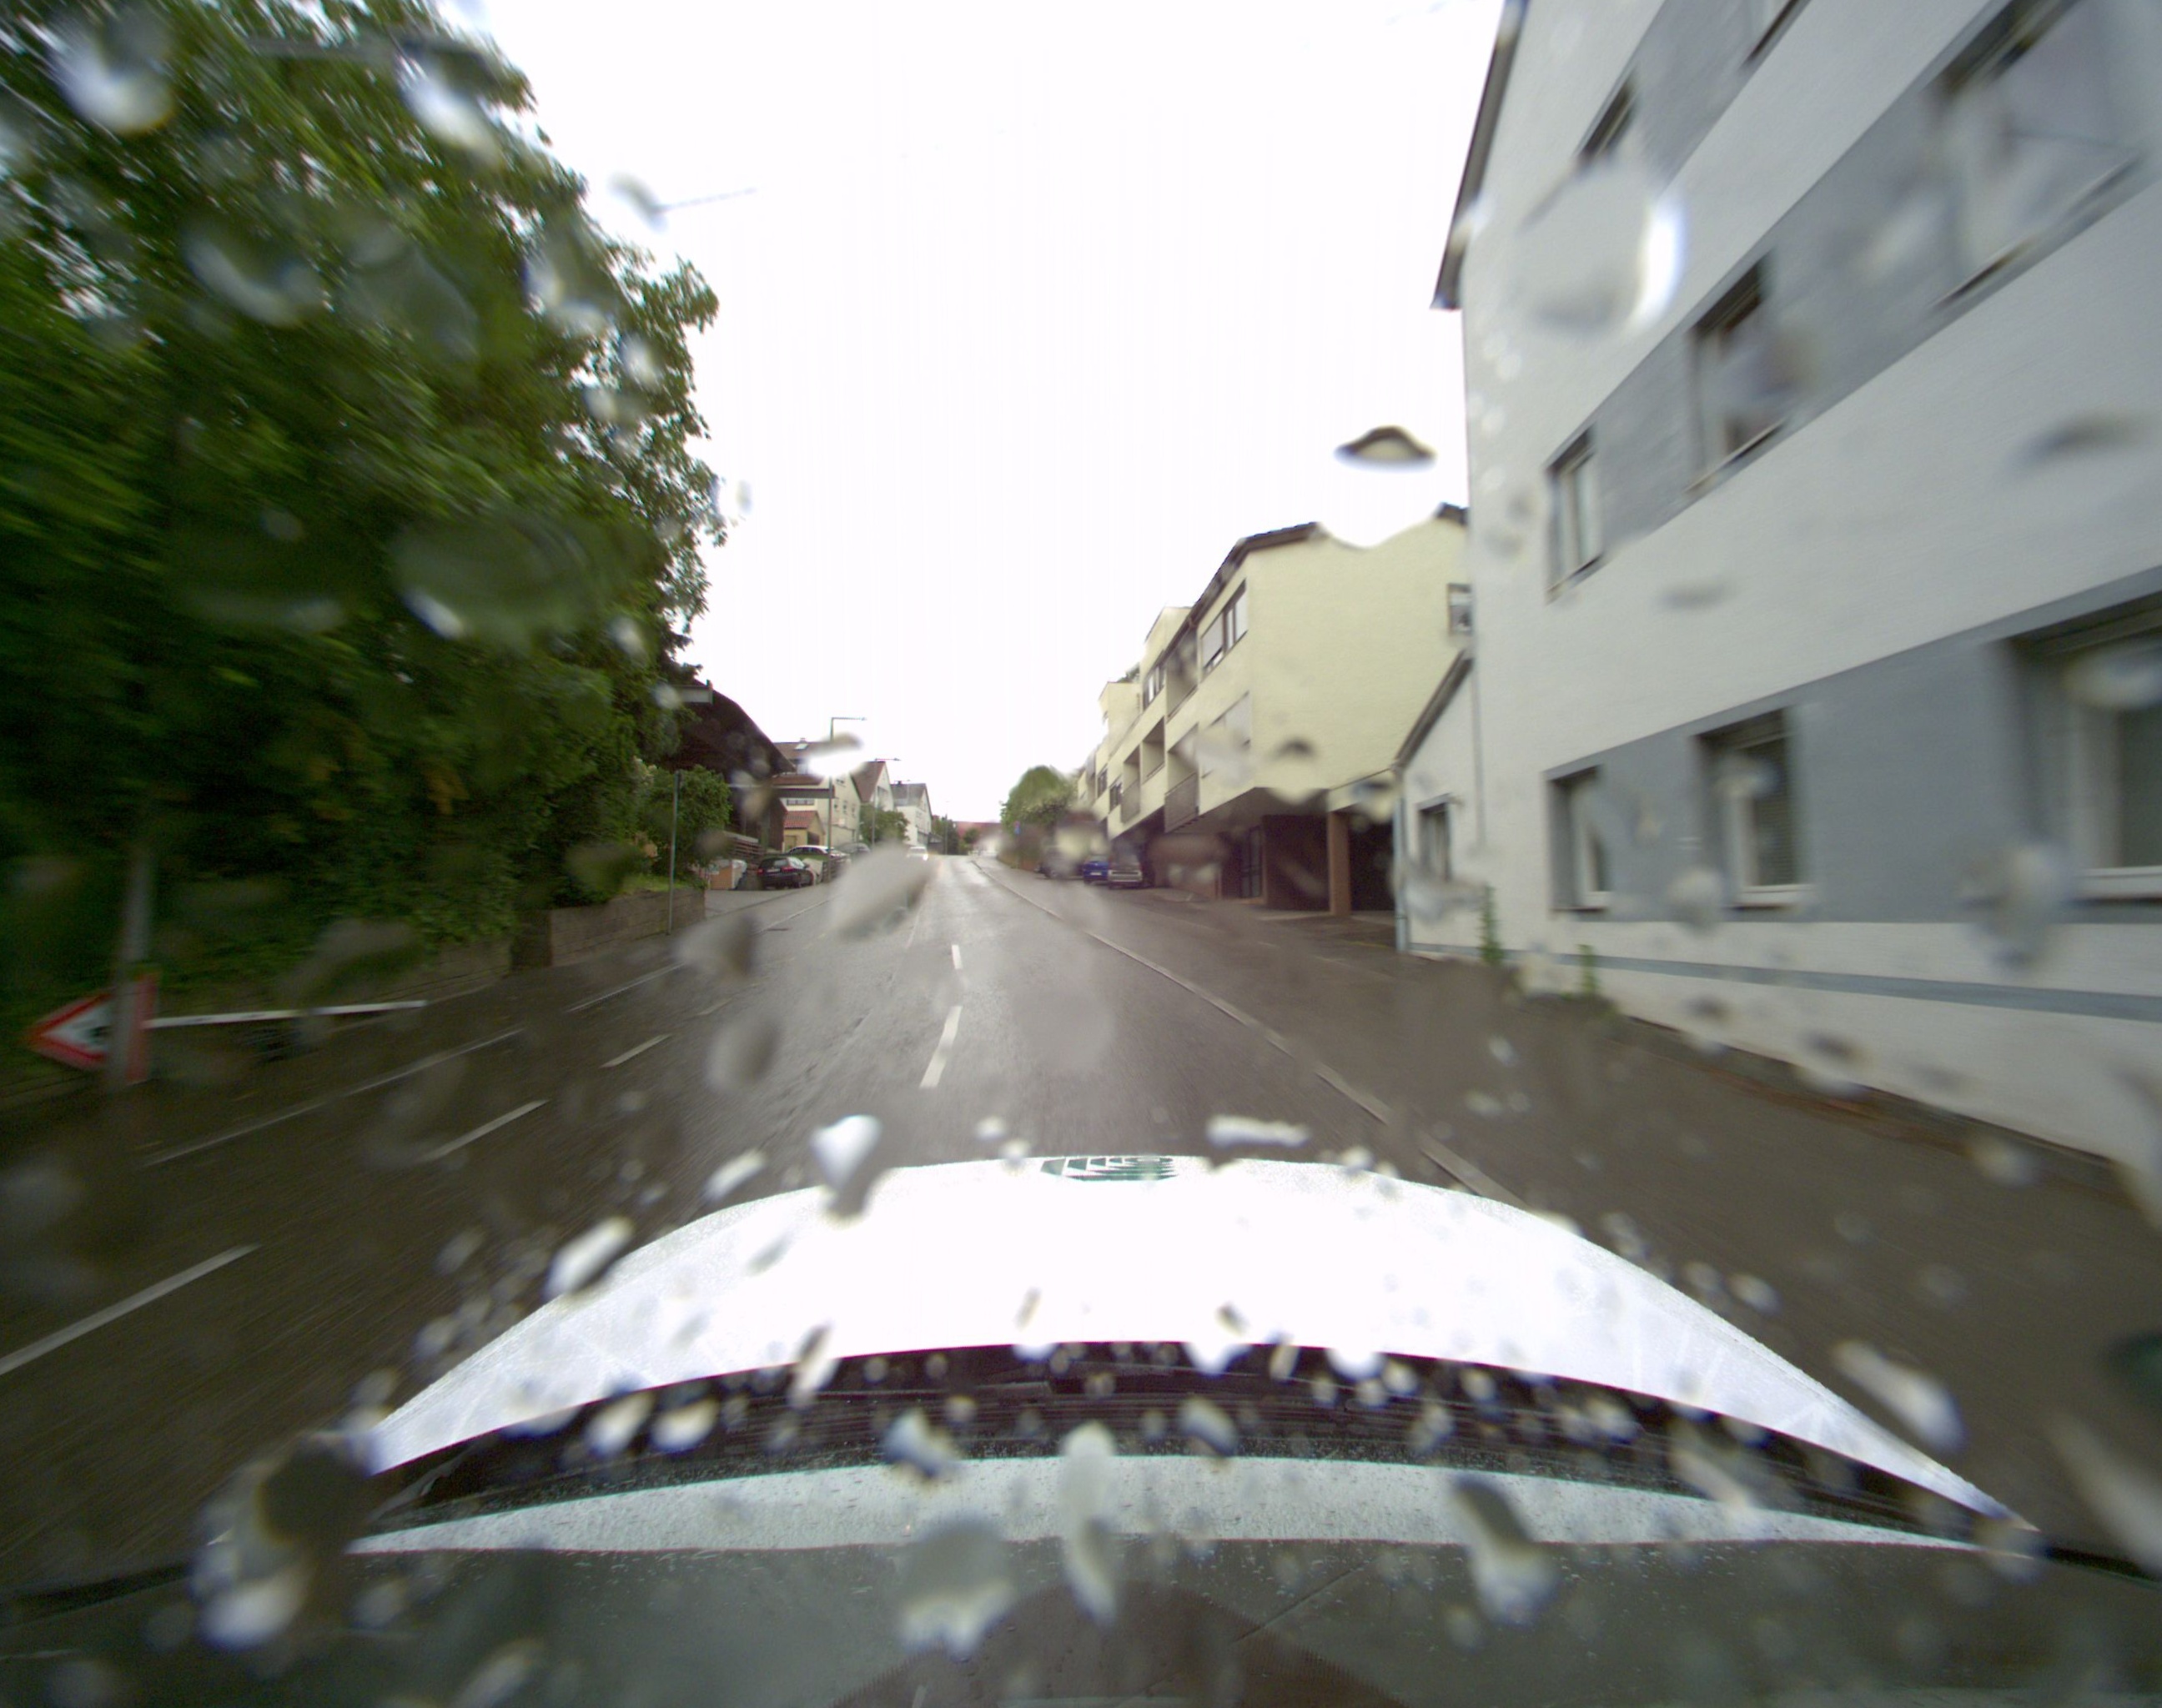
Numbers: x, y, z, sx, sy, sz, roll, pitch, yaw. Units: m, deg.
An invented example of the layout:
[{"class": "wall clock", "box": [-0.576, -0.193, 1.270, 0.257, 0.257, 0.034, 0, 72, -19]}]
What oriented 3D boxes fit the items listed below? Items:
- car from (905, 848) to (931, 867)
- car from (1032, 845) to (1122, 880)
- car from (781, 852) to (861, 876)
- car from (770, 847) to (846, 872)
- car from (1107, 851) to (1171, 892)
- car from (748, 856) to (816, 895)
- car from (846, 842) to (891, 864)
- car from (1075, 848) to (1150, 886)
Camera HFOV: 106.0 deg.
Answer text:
[{"class": "car", "box": [-12.776, 0.232, 64.051, 1.701, 1.387, 4.040, -2, 0, -8]}, {"class": "car", "box": [-0.244, 0.455, 44.720, 4.709, 1.820, 1.993, 0, 1, -11]}, {"class": "car", "box": [-16.739, 0.639, 52.519, 4.479, 1.505, 1.902, 0, 1, 2]}, {"class": "car", "box": [-16.651, 0.317, 49.859, 3.972, 1.505, 1.902, 0, 1, 2]}, {"class": "car", "box": [2.544, 0.683, 34.624, 1.768, 1.578, 4.085, 2, 0, 17]}, {"class": "car", "box": [-13.058, 0.894, 35.842, 1.893, 1.441, 4.433, -2, 1, -8]}, {"class": "car", "box": [-16.745, -0.117, 64.448, 1.966, 1.659, 4.967, 0, 1, 3]}, {"class": "car", "box": [1.510, 0.588, 37.461, 1.765, 1.578, 4.091, 2, 0, 28]}]
